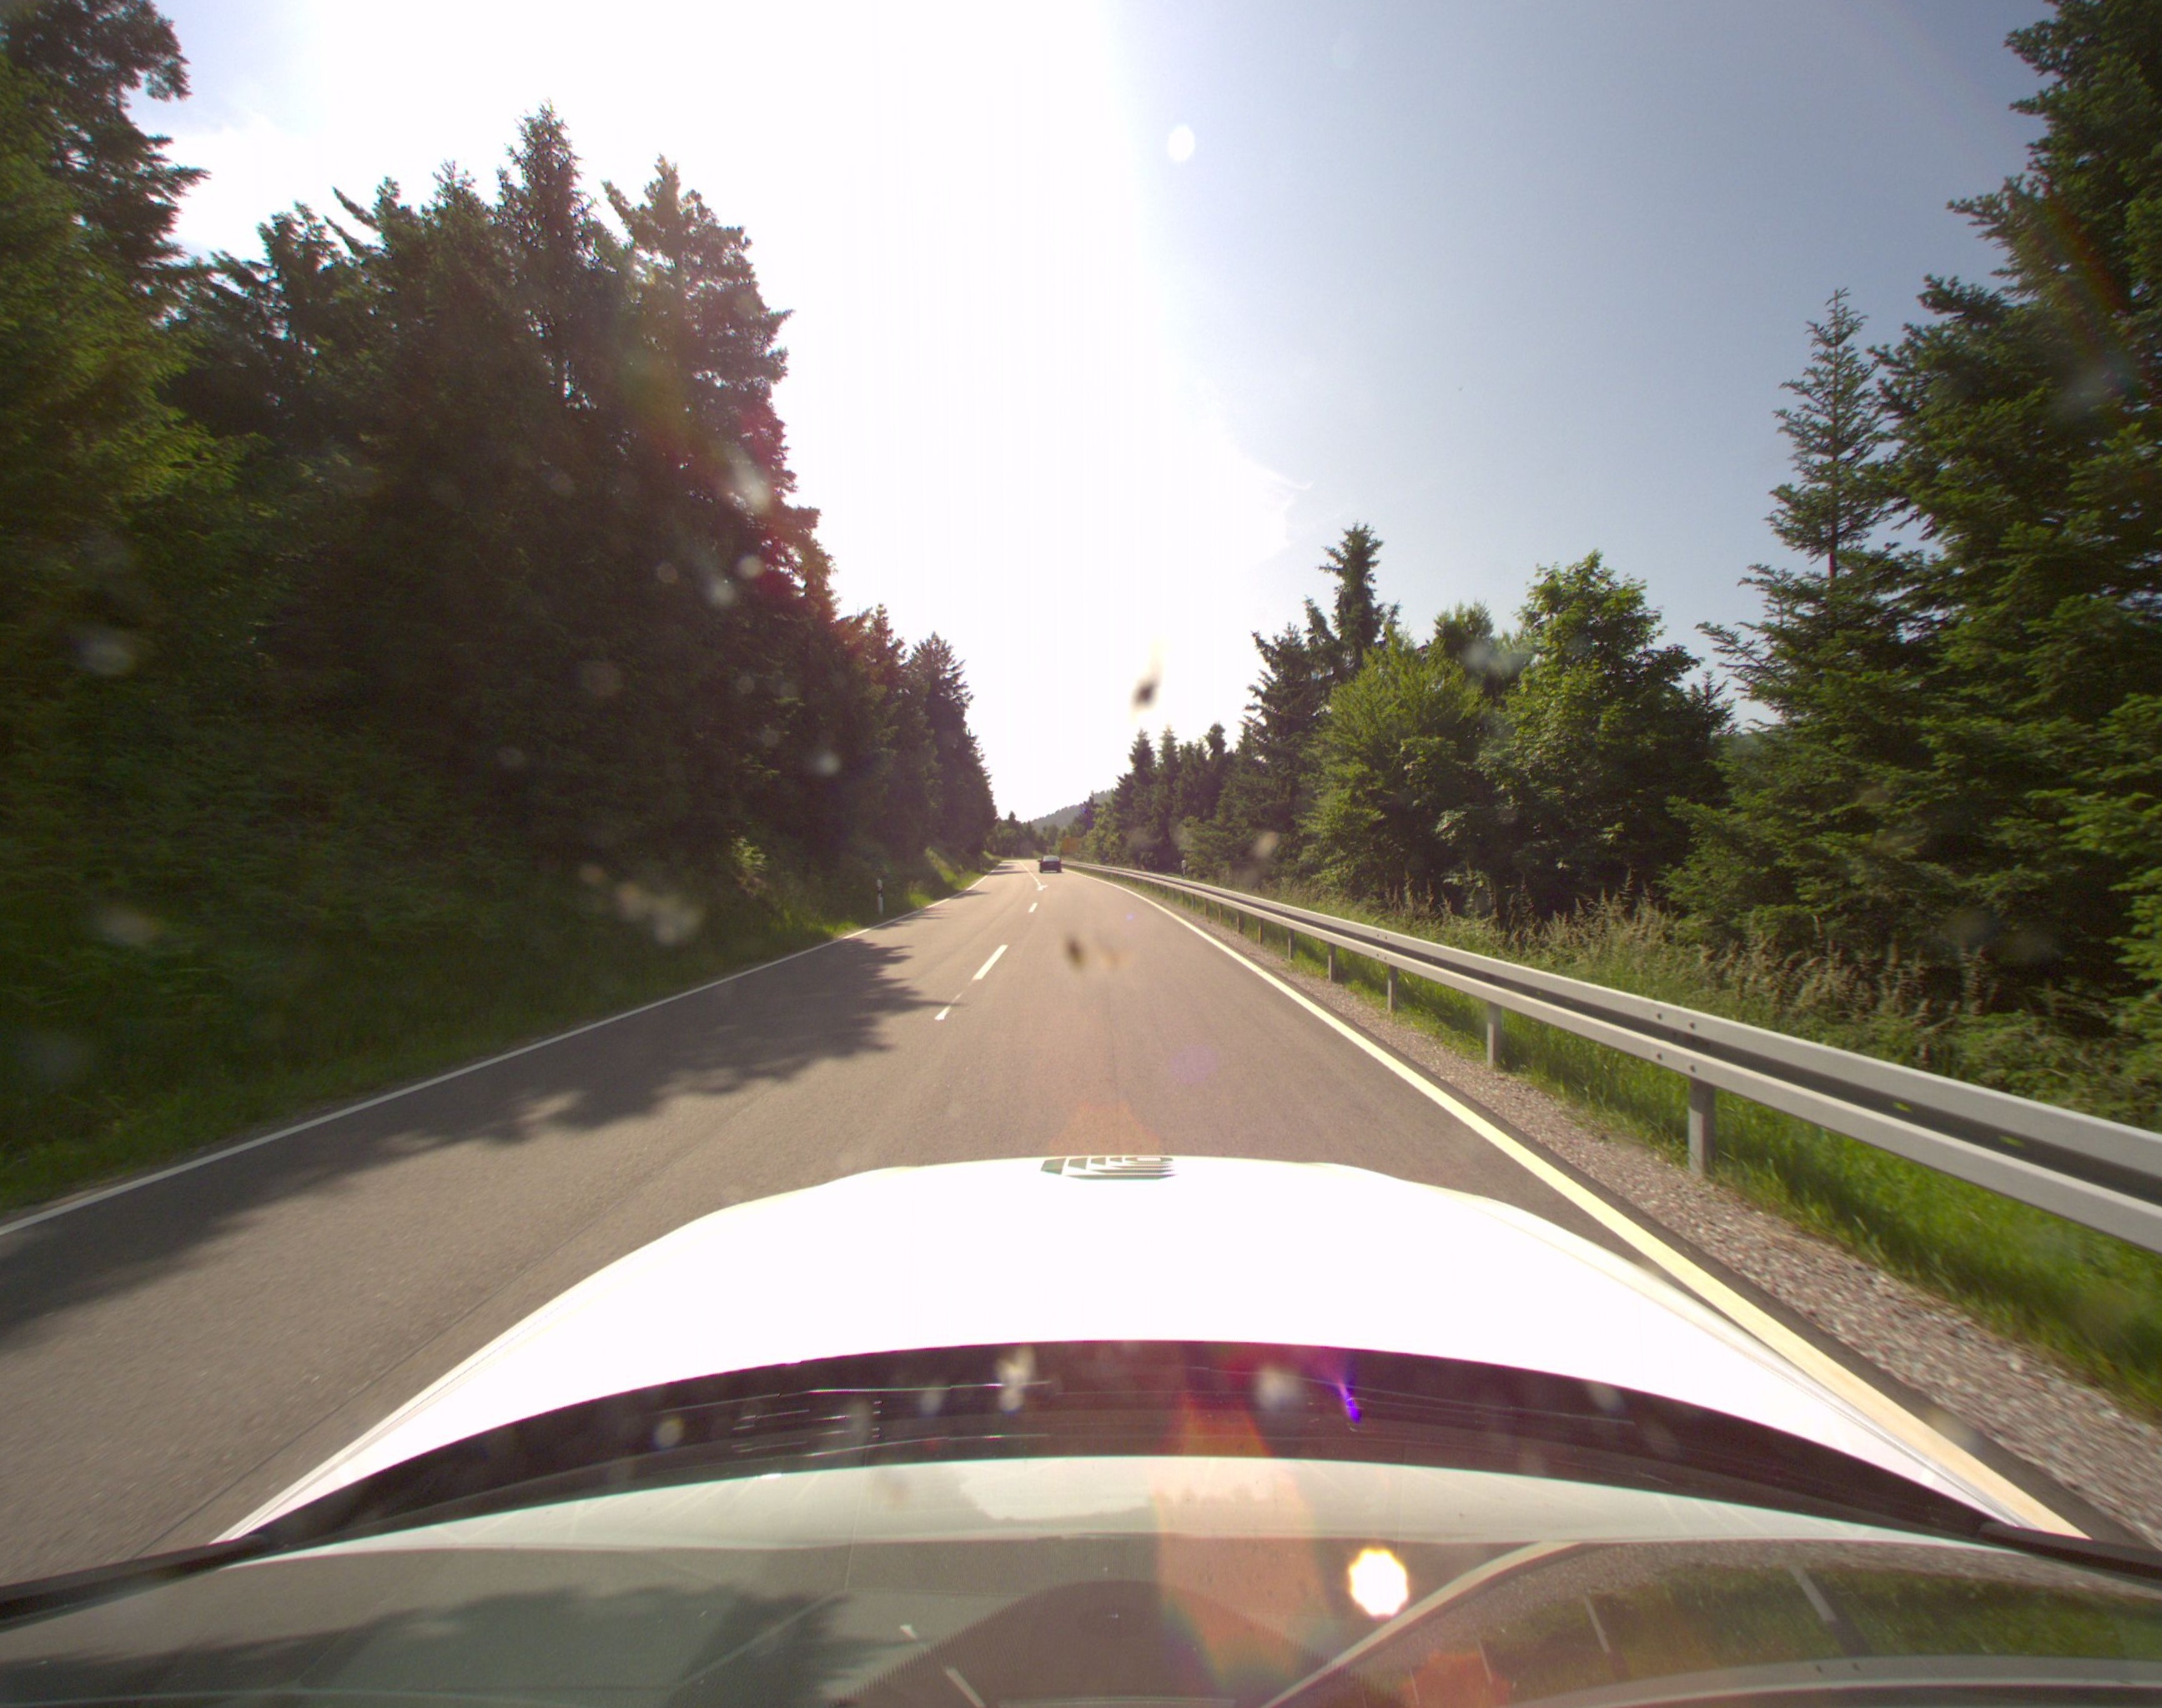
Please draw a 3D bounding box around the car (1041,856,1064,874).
[{"bbox_3d":[-2.455,0.924,68.624,1.772,1.442,3.703,-2,0,-4],"label":"car"}]
